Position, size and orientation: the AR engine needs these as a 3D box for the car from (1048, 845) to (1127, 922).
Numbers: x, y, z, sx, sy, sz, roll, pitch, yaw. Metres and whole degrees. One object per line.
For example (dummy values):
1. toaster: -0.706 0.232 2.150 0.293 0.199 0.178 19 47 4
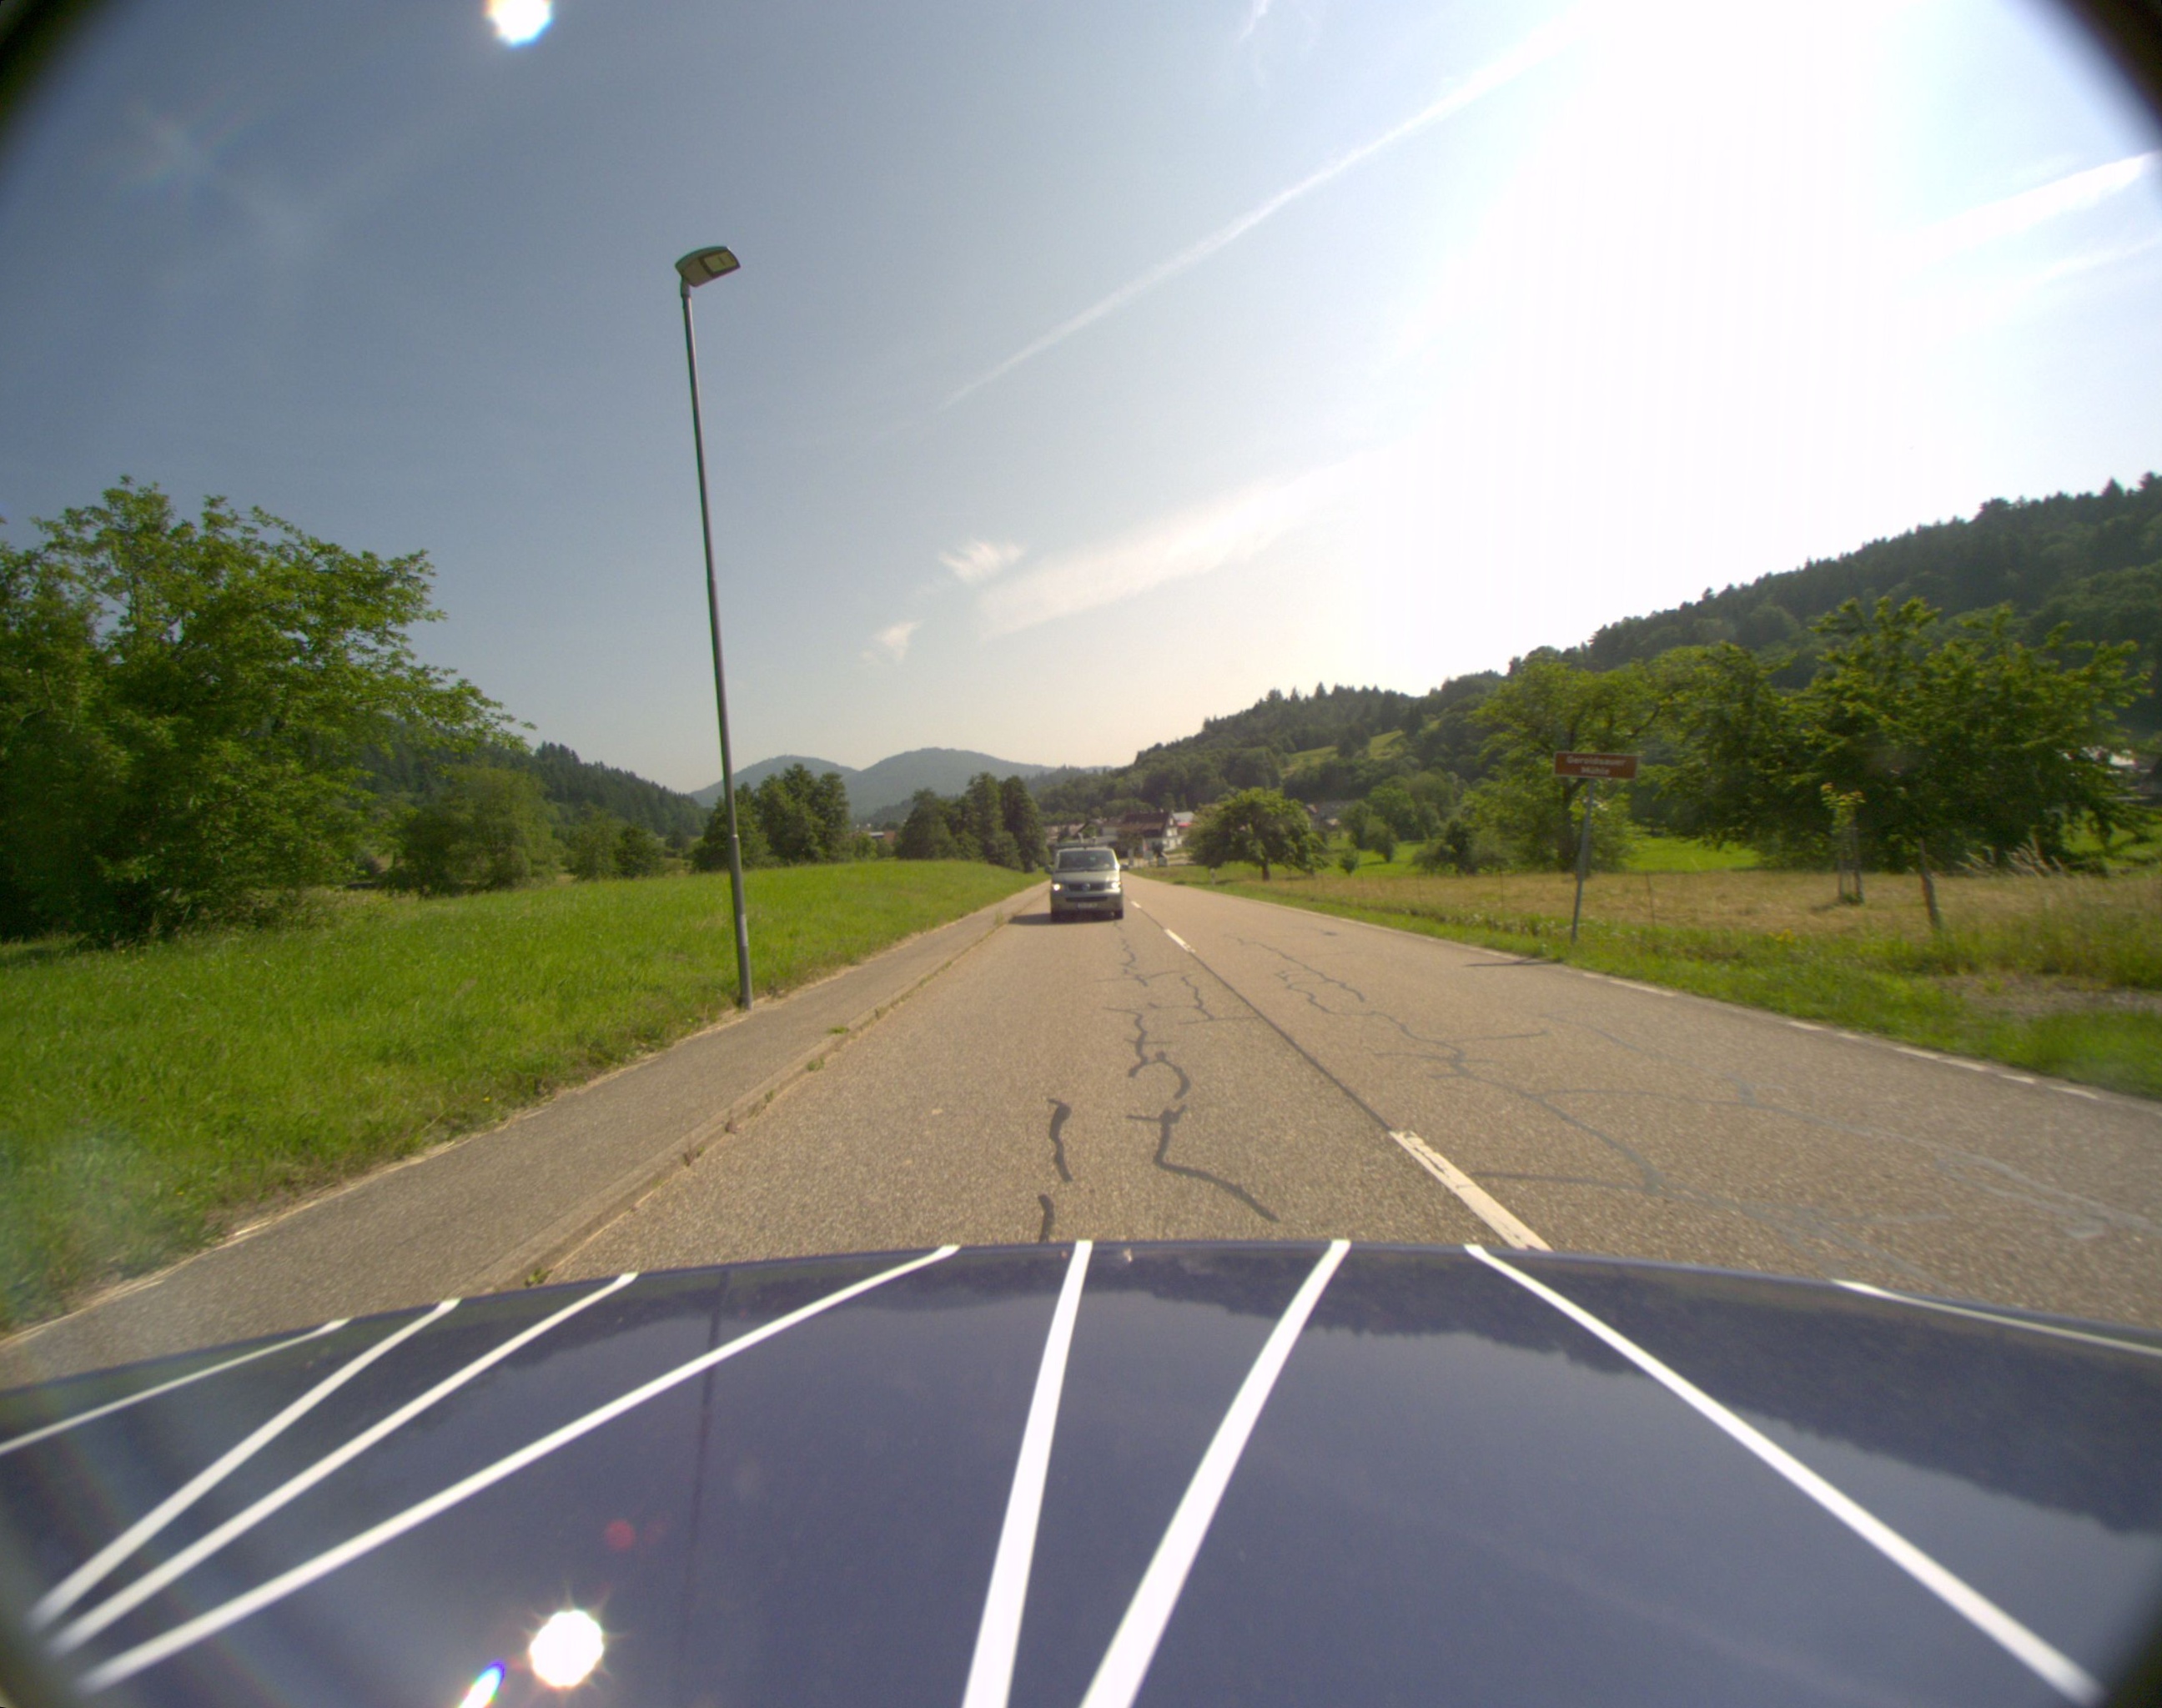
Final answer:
1. car: 0.296 0.812 22.695 2.023 1.970 5.050 -2 -1 3
